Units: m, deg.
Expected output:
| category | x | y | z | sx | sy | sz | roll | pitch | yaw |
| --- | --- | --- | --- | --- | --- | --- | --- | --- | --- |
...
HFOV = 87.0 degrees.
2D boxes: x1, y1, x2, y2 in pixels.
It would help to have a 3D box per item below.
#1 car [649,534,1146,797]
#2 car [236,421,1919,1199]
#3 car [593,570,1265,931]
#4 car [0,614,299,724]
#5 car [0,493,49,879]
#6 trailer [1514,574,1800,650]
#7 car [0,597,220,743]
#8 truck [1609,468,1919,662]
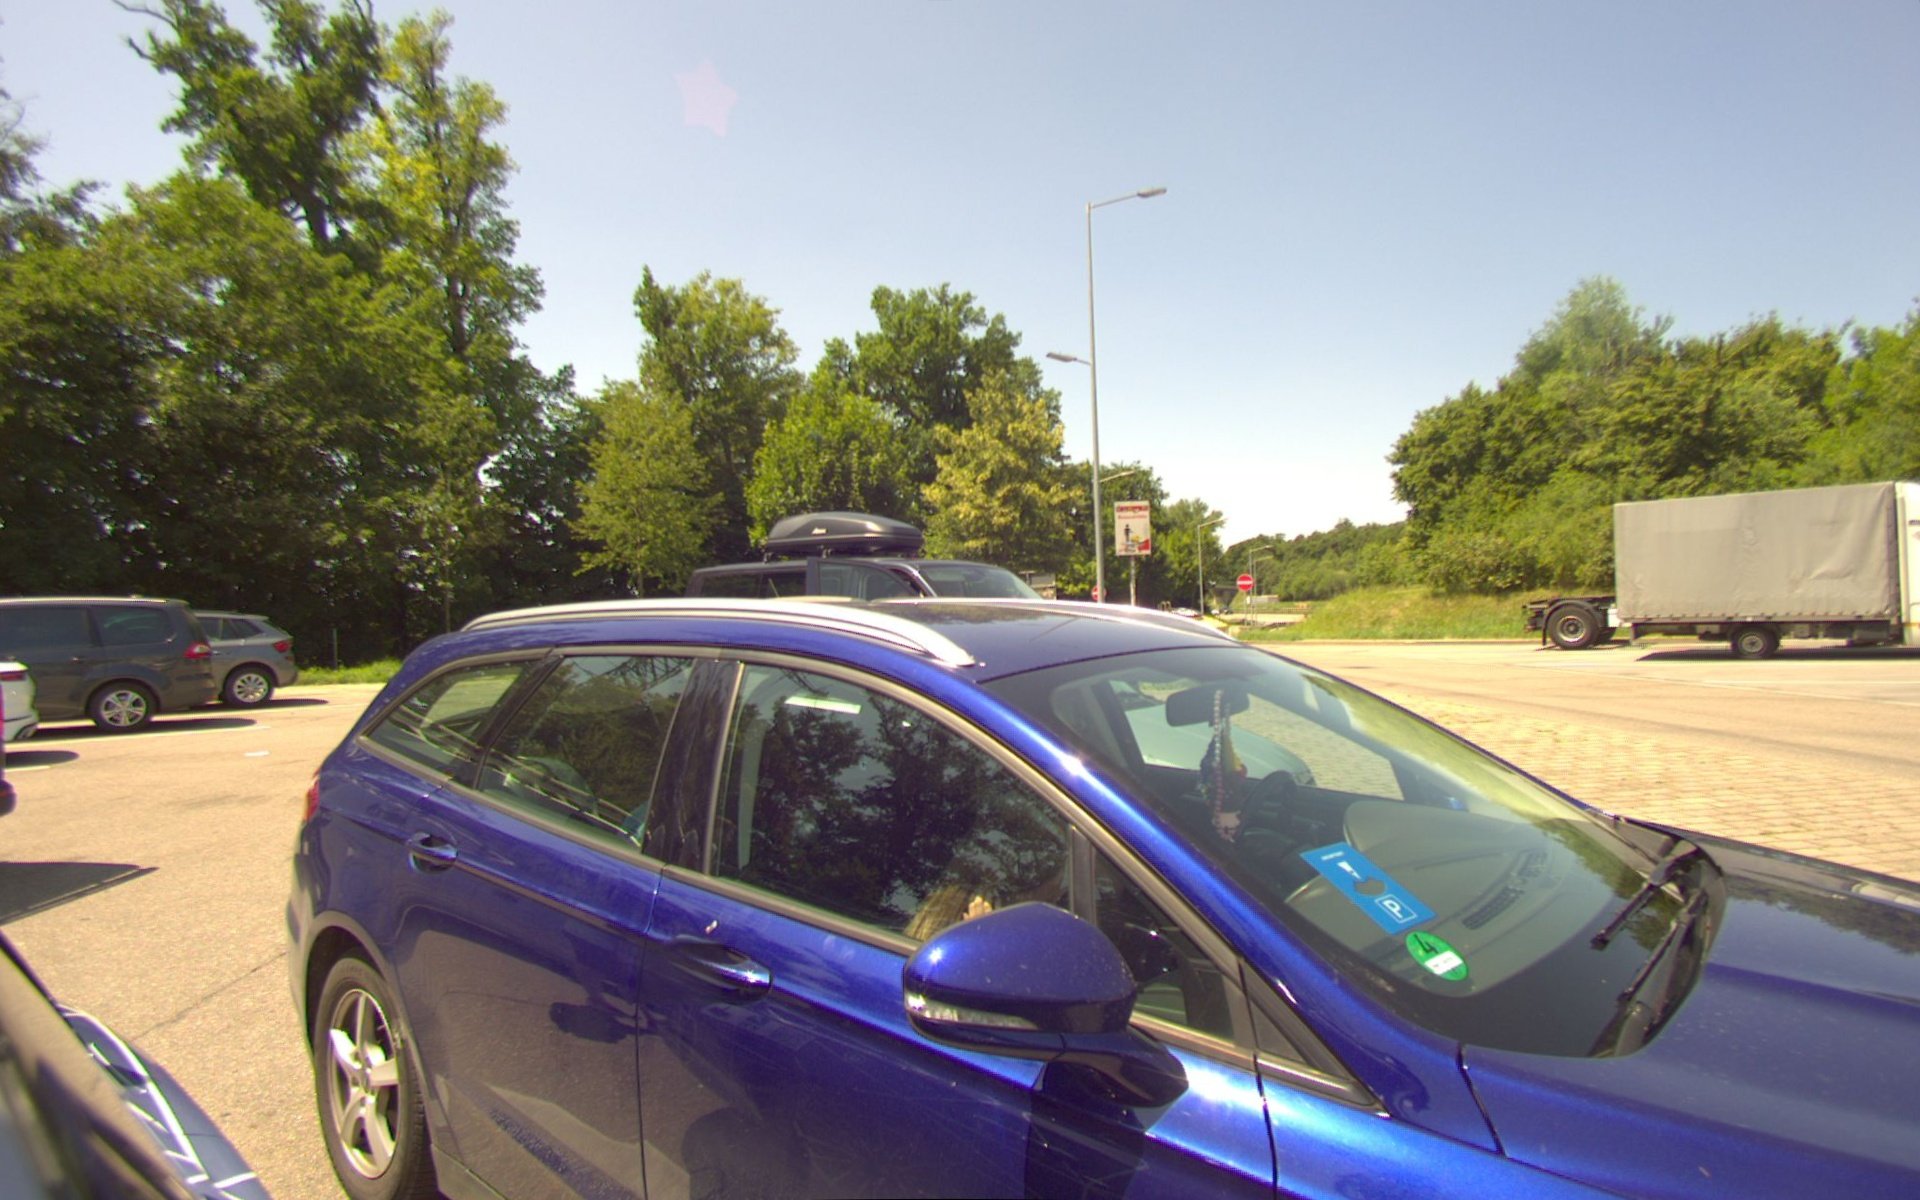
| category | x | y | z | sx | sy | sz | roll | pitch | yaw |
| --- | --- | --- | --- | --- | --- | --- | --- | --- | --- |
| car | -0.744 | 0.533 | 9.430 | 4.427 | 1.875 | 2.022 | -2 | -1 | 40 |
| car | 0.227 | 0.651 | 2.097 | 4.427 | 1.455 | 1.763 | -2 | -1 | 40 |
| car | -0.377 | 0.650 | 5.819 | 3.739 | 1.424 | 1.587 | -2 | -1 | 40 |
| car | -12.608 | 0.973 | 15.626 | 3.753 | 1.488 | 1.743 | 0 | -1 | -45 |
| car | -6.208 | 0.460 | 3.296 | 1.970 | 2.166 | 5.317 | -2 | -1 | -4 |
| trailer | 16.319 | 0.343 | 23.931 | 5.393 | 1.608 | 1.576 | -2 | -1 | 41 |
| car | -11.725 | 0.837 | 12.600 | 3.830 | 1.703 | 1.883 | 0 | -2 | -45 |
| truck | 16.698 | -0.621 | 18.857 | 7.308 | 3.258 | 2.294 | -5 | -2 | 43 |
